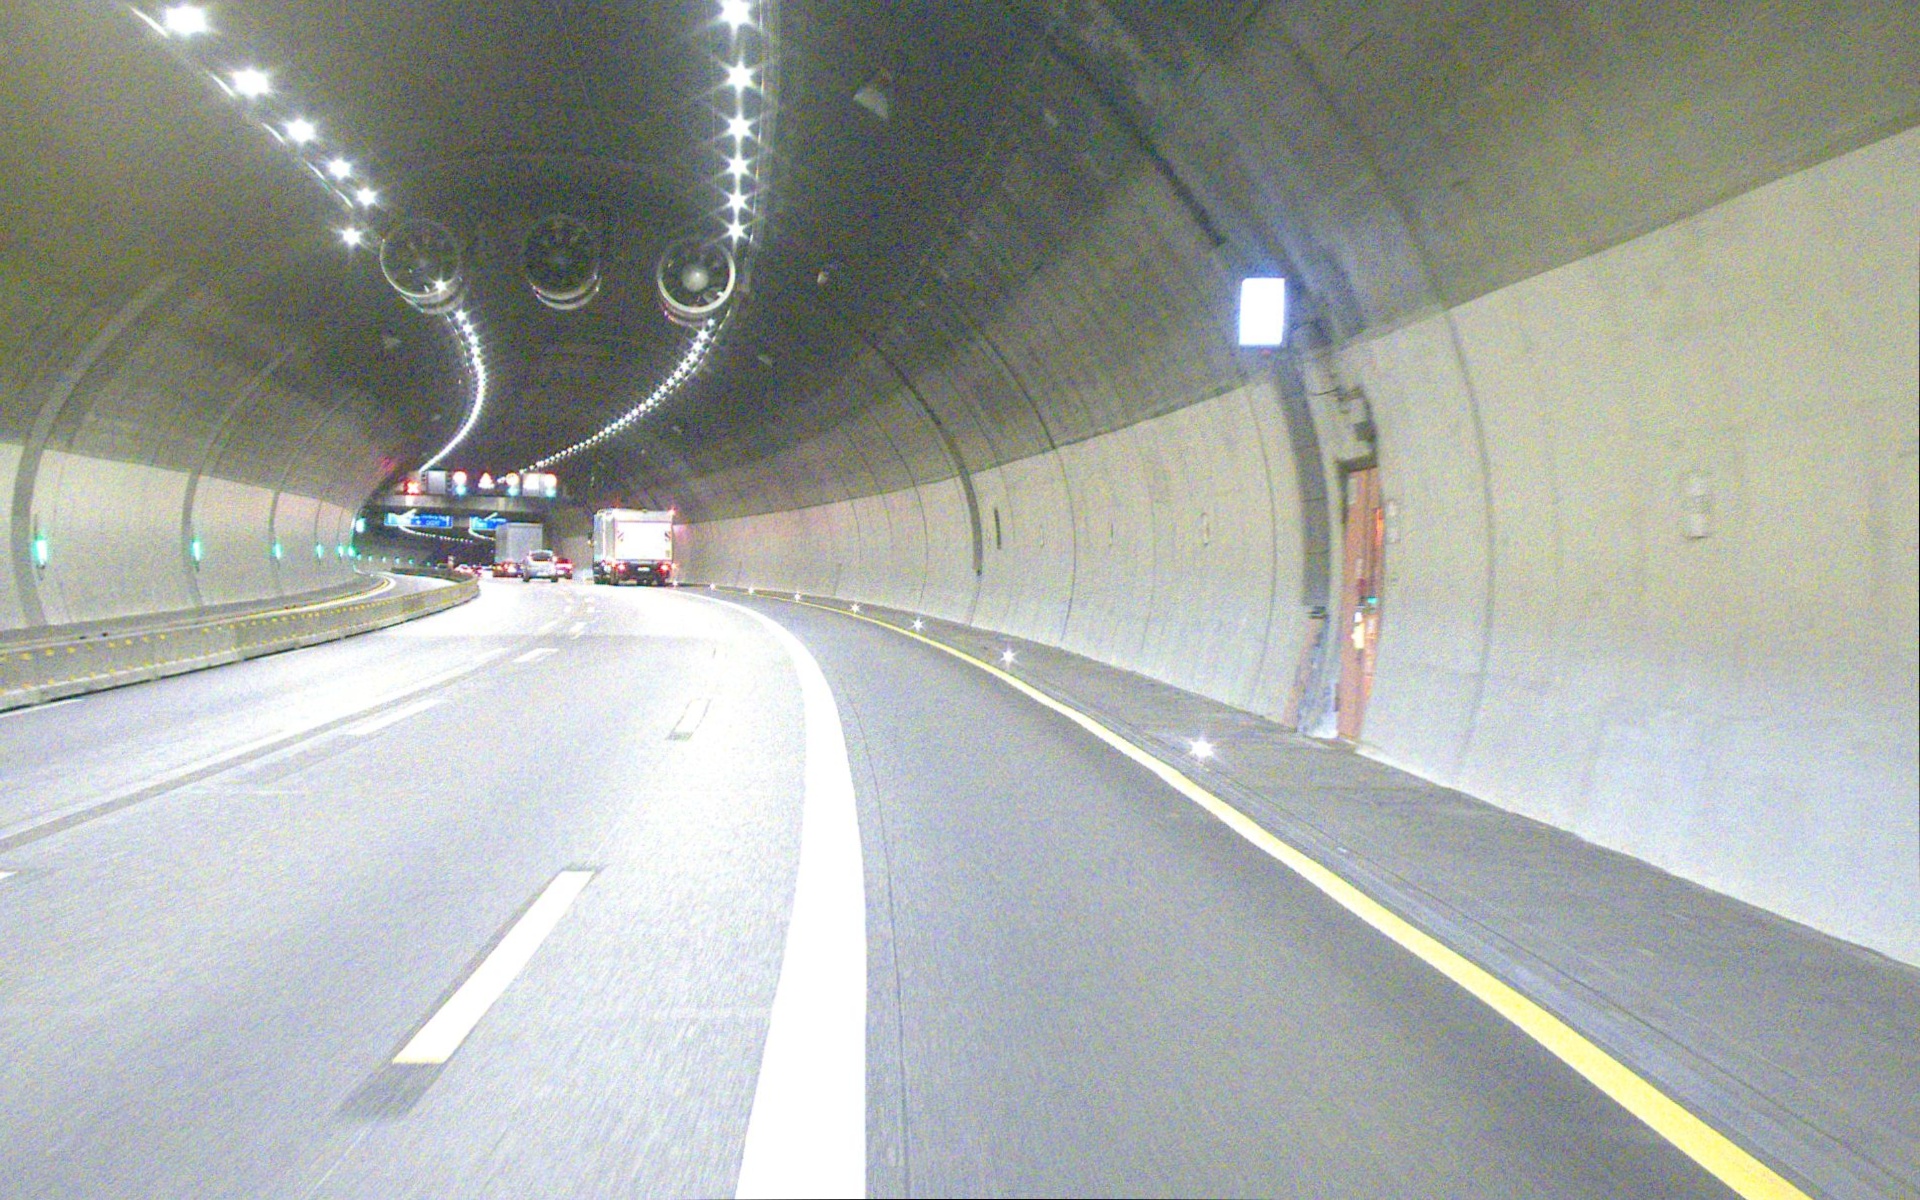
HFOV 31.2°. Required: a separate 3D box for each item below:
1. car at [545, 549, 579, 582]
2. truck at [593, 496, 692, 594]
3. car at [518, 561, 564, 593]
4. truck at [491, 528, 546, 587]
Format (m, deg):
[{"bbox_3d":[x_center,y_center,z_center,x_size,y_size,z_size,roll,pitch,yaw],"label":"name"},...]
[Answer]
[{"bbox_3d":[-25.046,-2.184,216.310,1.993,2.007,4.001,1,1,-9],"label":"car"},{"bbox_3d":[-14.668,-2.536,158.127,3.473,4.301,10.955,1,1,-11],"label":"truck"},{"bbox_3d":[-21.466,-1.166,175.915,1.993,1.576,4.001,1,0,-11],"label":"car"},{"bbox_3d":[-32.830,-3.160,255.359,3.473,4.301,10.955,0,1,-11],"label":"truck"}]
